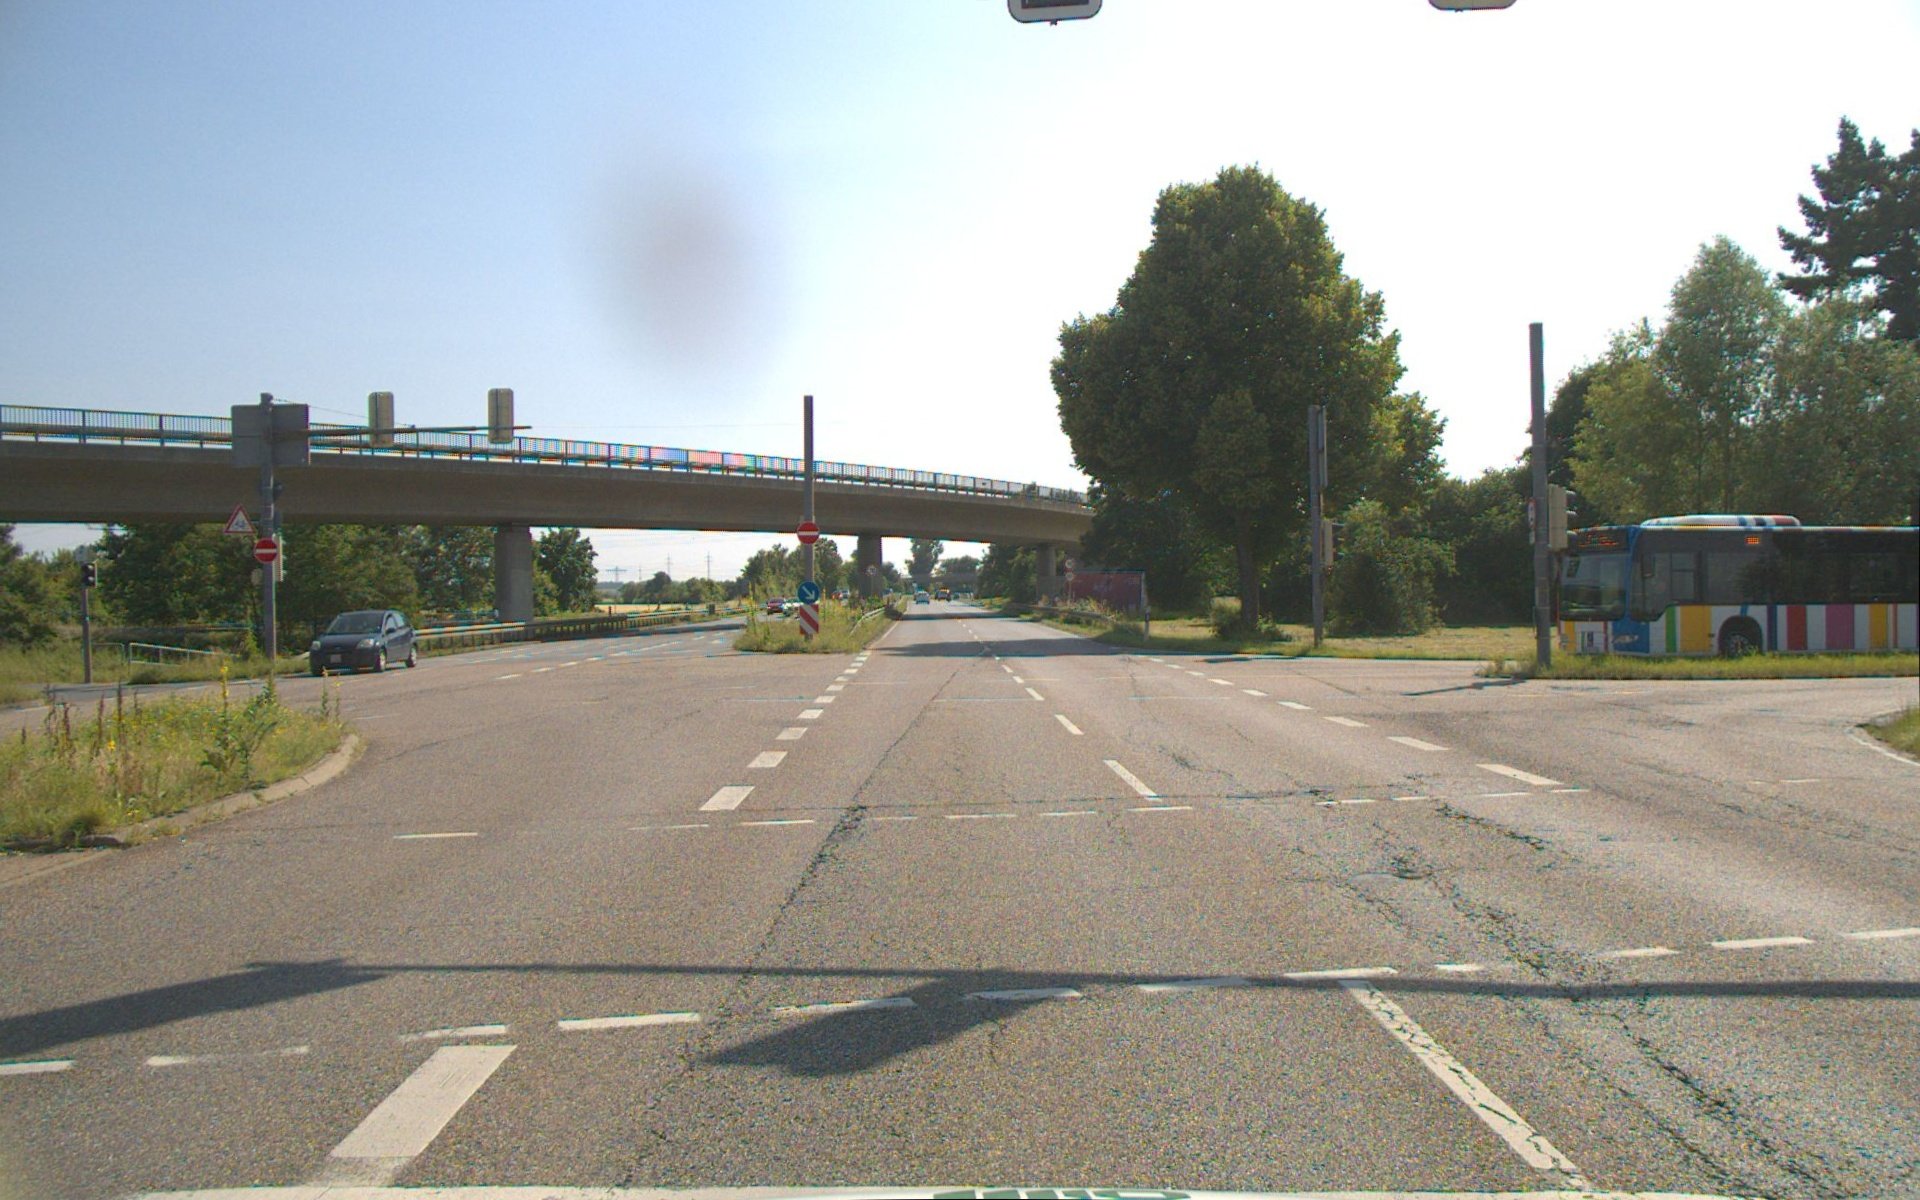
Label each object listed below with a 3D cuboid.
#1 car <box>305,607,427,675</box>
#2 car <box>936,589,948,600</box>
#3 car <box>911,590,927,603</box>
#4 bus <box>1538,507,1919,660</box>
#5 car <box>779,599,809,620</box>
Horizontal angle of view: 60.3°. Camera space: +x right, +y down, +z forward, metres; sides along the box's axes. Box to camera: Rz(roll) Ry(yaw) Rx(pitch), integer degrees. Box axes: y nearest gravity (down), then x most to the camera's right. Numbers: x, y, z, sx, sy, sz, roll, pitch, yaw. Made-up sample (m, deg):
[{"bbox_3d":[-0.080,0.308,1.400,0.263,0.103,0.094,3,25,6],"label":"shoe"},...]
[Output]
[{"bbox_3d":[-14.402,0.964,40.278,1.582,1.467,3.775,-3,0,-1],"label":"car"},{"bbox_3d":[-2.787,-0.881,254.664,1.835,1.668,4.000,-1,0,0],"label":"car"},{"bbox_3d":[-5.122,-0.444,206.752,1.813,1.486,4.000,-2,0,0],"label":"car"},{"bbox_3d":[18.456,-0.437,35.731,11.745,2.927,2.929,-2,0,-16],"label":"bus"},{"bbox_3d":[-12.320,0.688,123.098,1.819,1.473,4.239,-3,0,-2],"label":"car"}]
